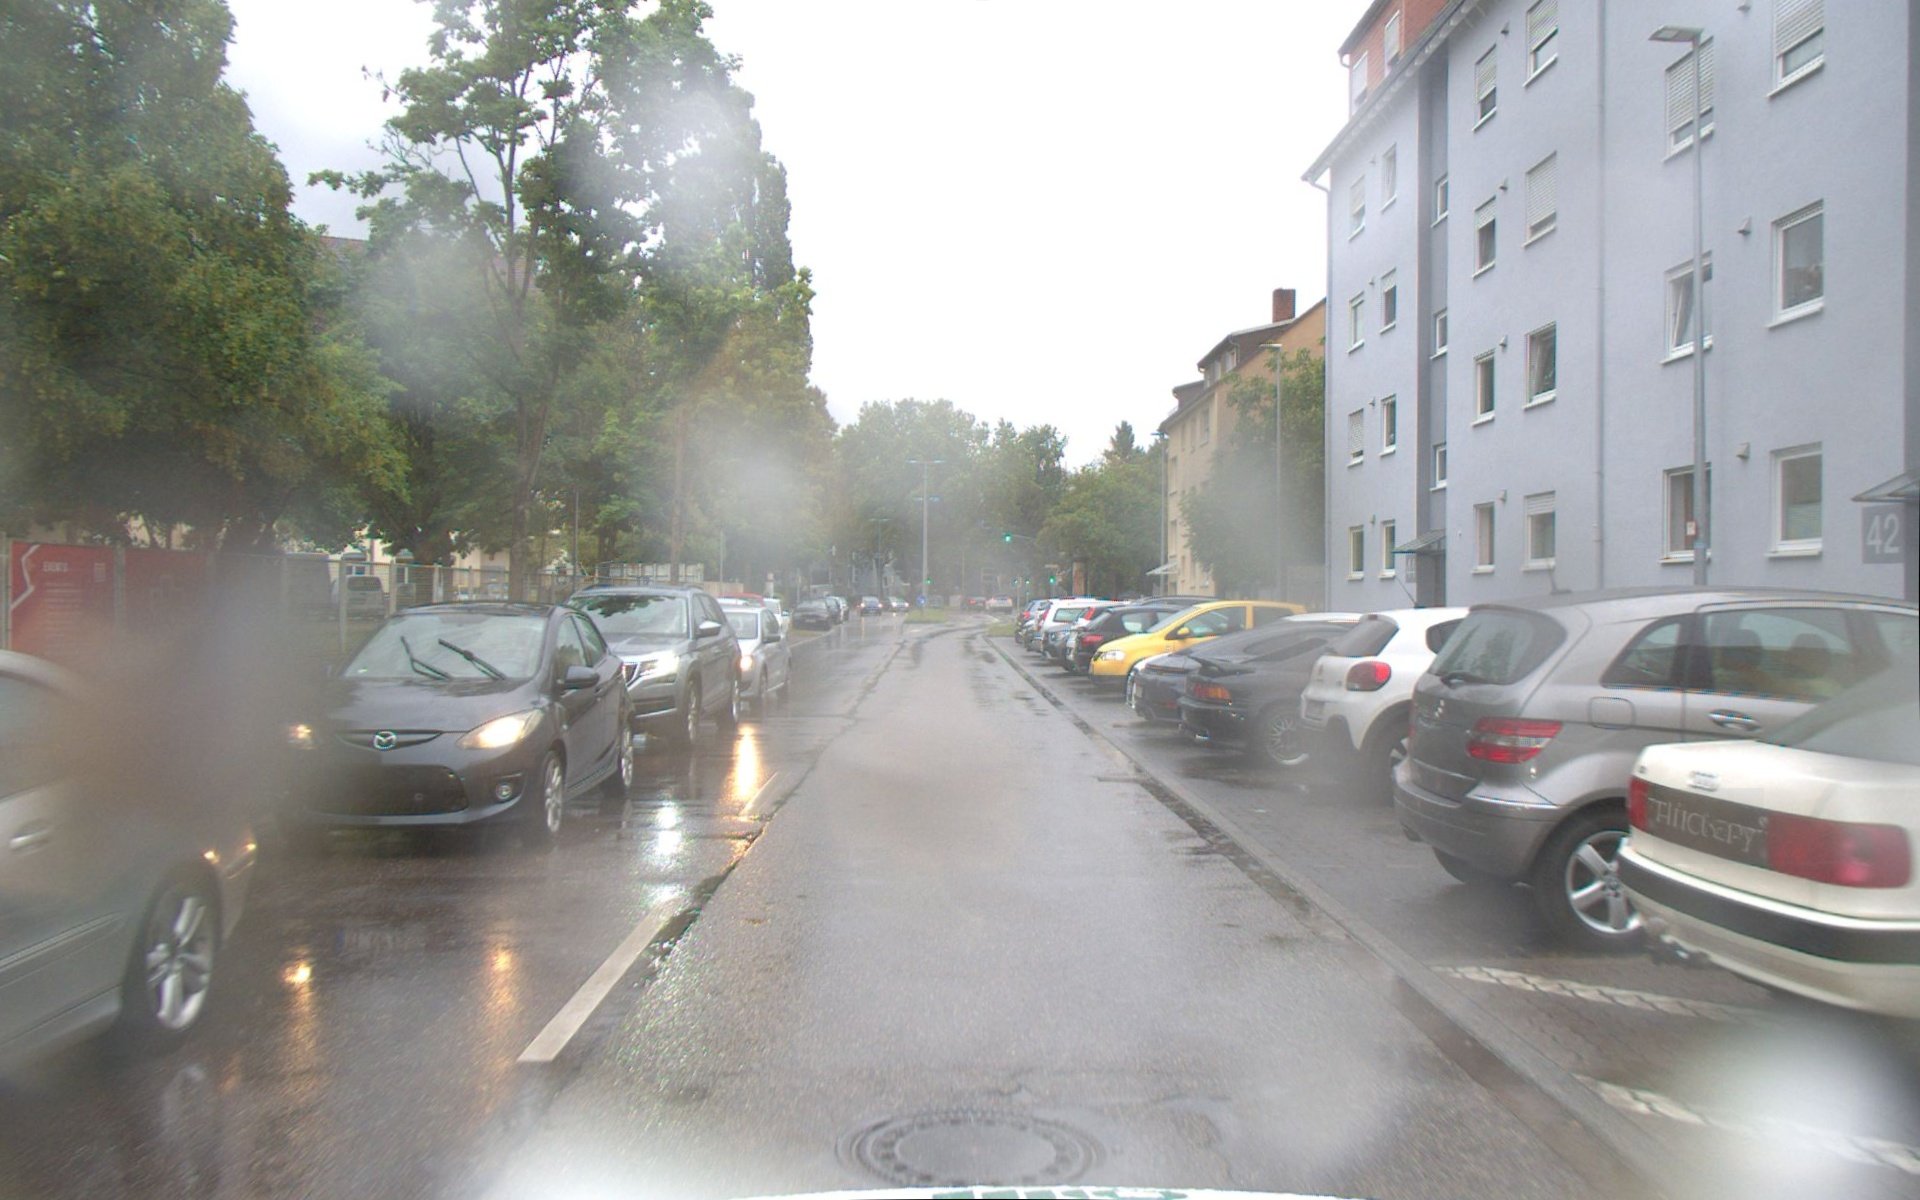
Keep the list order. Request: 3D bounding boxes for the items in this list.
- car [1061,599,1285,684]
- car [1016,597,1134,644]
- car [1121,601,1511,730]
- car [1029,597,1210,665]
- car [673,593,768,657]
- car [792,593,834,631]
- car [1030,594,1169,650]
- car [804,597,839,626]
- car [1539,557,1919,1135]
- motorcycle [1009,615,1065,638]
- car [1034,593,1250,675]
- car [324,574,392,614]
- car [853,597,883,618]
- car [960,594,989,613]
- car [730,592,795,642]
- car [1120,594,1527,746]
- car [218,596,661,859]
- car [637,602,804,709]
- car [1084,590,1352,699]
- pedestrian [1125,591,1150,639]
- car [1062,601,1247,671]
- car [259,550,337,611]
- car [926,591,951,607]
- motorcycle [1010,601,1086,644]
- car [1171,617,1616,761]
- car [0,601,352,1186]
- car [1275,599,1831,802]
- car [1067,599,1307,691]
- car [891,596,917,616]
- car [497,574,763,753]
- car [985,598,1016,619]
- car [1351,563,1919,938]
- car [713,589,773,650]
[{"bbox_3d":[3.987,0.766,31.536,4.013,1.483,2.000,1,0,0],"label":"car"},{"bbox_3d":[3.925,0.689,56.854,3.905,1.487,1.934,1,0,-1],"label":"car"},{"bbox_3d":[4.417,0.796,21.057,4.532,1.461,2.000,1,0,1],"label":"car"},{"bbox_3d":[3.791,0.723,39.633,4.179,1.479,1.985,1,1,4],"label":"car"},{"bbox_3d":[-6.002,0.613,41.905,1.626,1.486,4.174,1,0,2],"label":"car"},{"bbox_3d":[-6.743,0.514,75.603,1.742,1.556,3.994,1,1,-8],"label":"car"},{"bbox_3d":[4.136,0.652,49.522,3.907,1.579,1.904,1,0,-3],"label":"car"},{"bbox_3d":[-7.546,0.617,90.388,1.891,1.510,3.997,0,0,-4],"label":"car"},{"bbox_3d":[4.353,0.698,5.624,4.106,1.596,1.888,0,0,-3],"label":"car"},{"bbox_3d":[2.871,0.979,61.455,2.029,0.806,0.711,1,0,5],"label":"motorcycle"},{"bbox_3d":[3.746,0.702,34.669,4.253,1.579,2.039,1,0,-2],"label":"car"},{"bbox_3d":[-22.902,-0.225,62.885,1.688,1.459,3.610,2,0,-32],"label":"car"},{"bbox_3d":[-7.123,0.591,127.936,1.956,1.512,3.992,1,0,-9],"label":"car"},{"bbox_3d":[1.239,0.298,140.894,1.815,1.551,4.145,0,0,-9],"label":"car"},{"bbox_3d":[-6.595,0.565,55.580,1.733,1.555,4.596,1,0,-2],"label":"car"},{"bbox_3d":[3.937,0.741,18.428,4.059,1.512,2.012,1,0,-1],"label":"car"},{"bbox_3d":[-3.286,0.705,11.365,1.742,1.445,4.264,0,0,-1],"label":"car"},{"bbox_3d":[-3.403,0.750,24.247,1.637,1.407,4.253,0,0,2],"label":"car"},{"bbox_3d":[4.039,0.692,26.322,3.907,1.579,1.852,1,0,-3],"label":"car"},{"bbox_3d":[7.697,0.667,71.707,0.989,2.049,0.953,1,-1,8],"label":"pedestrian"},{"bbox_3d":[4.321,0.798,37.225,3.906,1.436,1.845,1,0,-1],"label":"car"},{"bbox_3d":[-24.730,-0.717,61.747,1.975,2.159,3.955,2,0,-33],"label":"car"},{"bbox_3d":[-2.053,-0.097,156.363,1.816,1.551,3.991,0,0,-10],"label":"car"},{"bbox_3d":[2.857,0.743,53.955,2.352,1.347,0.918,1,-1,-6],"label":"motorcycle"},{"bbox_3d":[4.031,0.808,15.888,3.774,1.229,1.956,1,0,1],"label":"car"},{"bbox_3d":[-3.241,0.720,4.227,1.739,1.428,4.827,1,0,-2],"label":"car"},{"bbox_3d":[4.613,0.753,13.239,3.777,1.480,1.835,1,0,-3],"label":"car"},{"bbox_3d":[3.907,0.768,28.928,3.906,1.467,1.781,1,0,-2],"label":"car"},{"bbox_3d":[-5.010,0.507,146.838,1.709,1.718,3.989,1,0,-11],"label":"car"},{"bbox_3d":[-3.438,0.621,18.206,1.875,1.668,4.821,1,0,0],"label":"car"},{"bbox_3d":[3.071,0.641,126.411,1.814,1.551,3.994,0,0,-7],"label":"car"},{"bbox_3d":[4.237,0.692,8.235,4.097,1.599,1.889,1,0,-2],"label":"car"},{"bbox_3d":[-6.154,0.544,47.271,1.594,1.626,4.195,1,0,-7],"label":"car"}]
